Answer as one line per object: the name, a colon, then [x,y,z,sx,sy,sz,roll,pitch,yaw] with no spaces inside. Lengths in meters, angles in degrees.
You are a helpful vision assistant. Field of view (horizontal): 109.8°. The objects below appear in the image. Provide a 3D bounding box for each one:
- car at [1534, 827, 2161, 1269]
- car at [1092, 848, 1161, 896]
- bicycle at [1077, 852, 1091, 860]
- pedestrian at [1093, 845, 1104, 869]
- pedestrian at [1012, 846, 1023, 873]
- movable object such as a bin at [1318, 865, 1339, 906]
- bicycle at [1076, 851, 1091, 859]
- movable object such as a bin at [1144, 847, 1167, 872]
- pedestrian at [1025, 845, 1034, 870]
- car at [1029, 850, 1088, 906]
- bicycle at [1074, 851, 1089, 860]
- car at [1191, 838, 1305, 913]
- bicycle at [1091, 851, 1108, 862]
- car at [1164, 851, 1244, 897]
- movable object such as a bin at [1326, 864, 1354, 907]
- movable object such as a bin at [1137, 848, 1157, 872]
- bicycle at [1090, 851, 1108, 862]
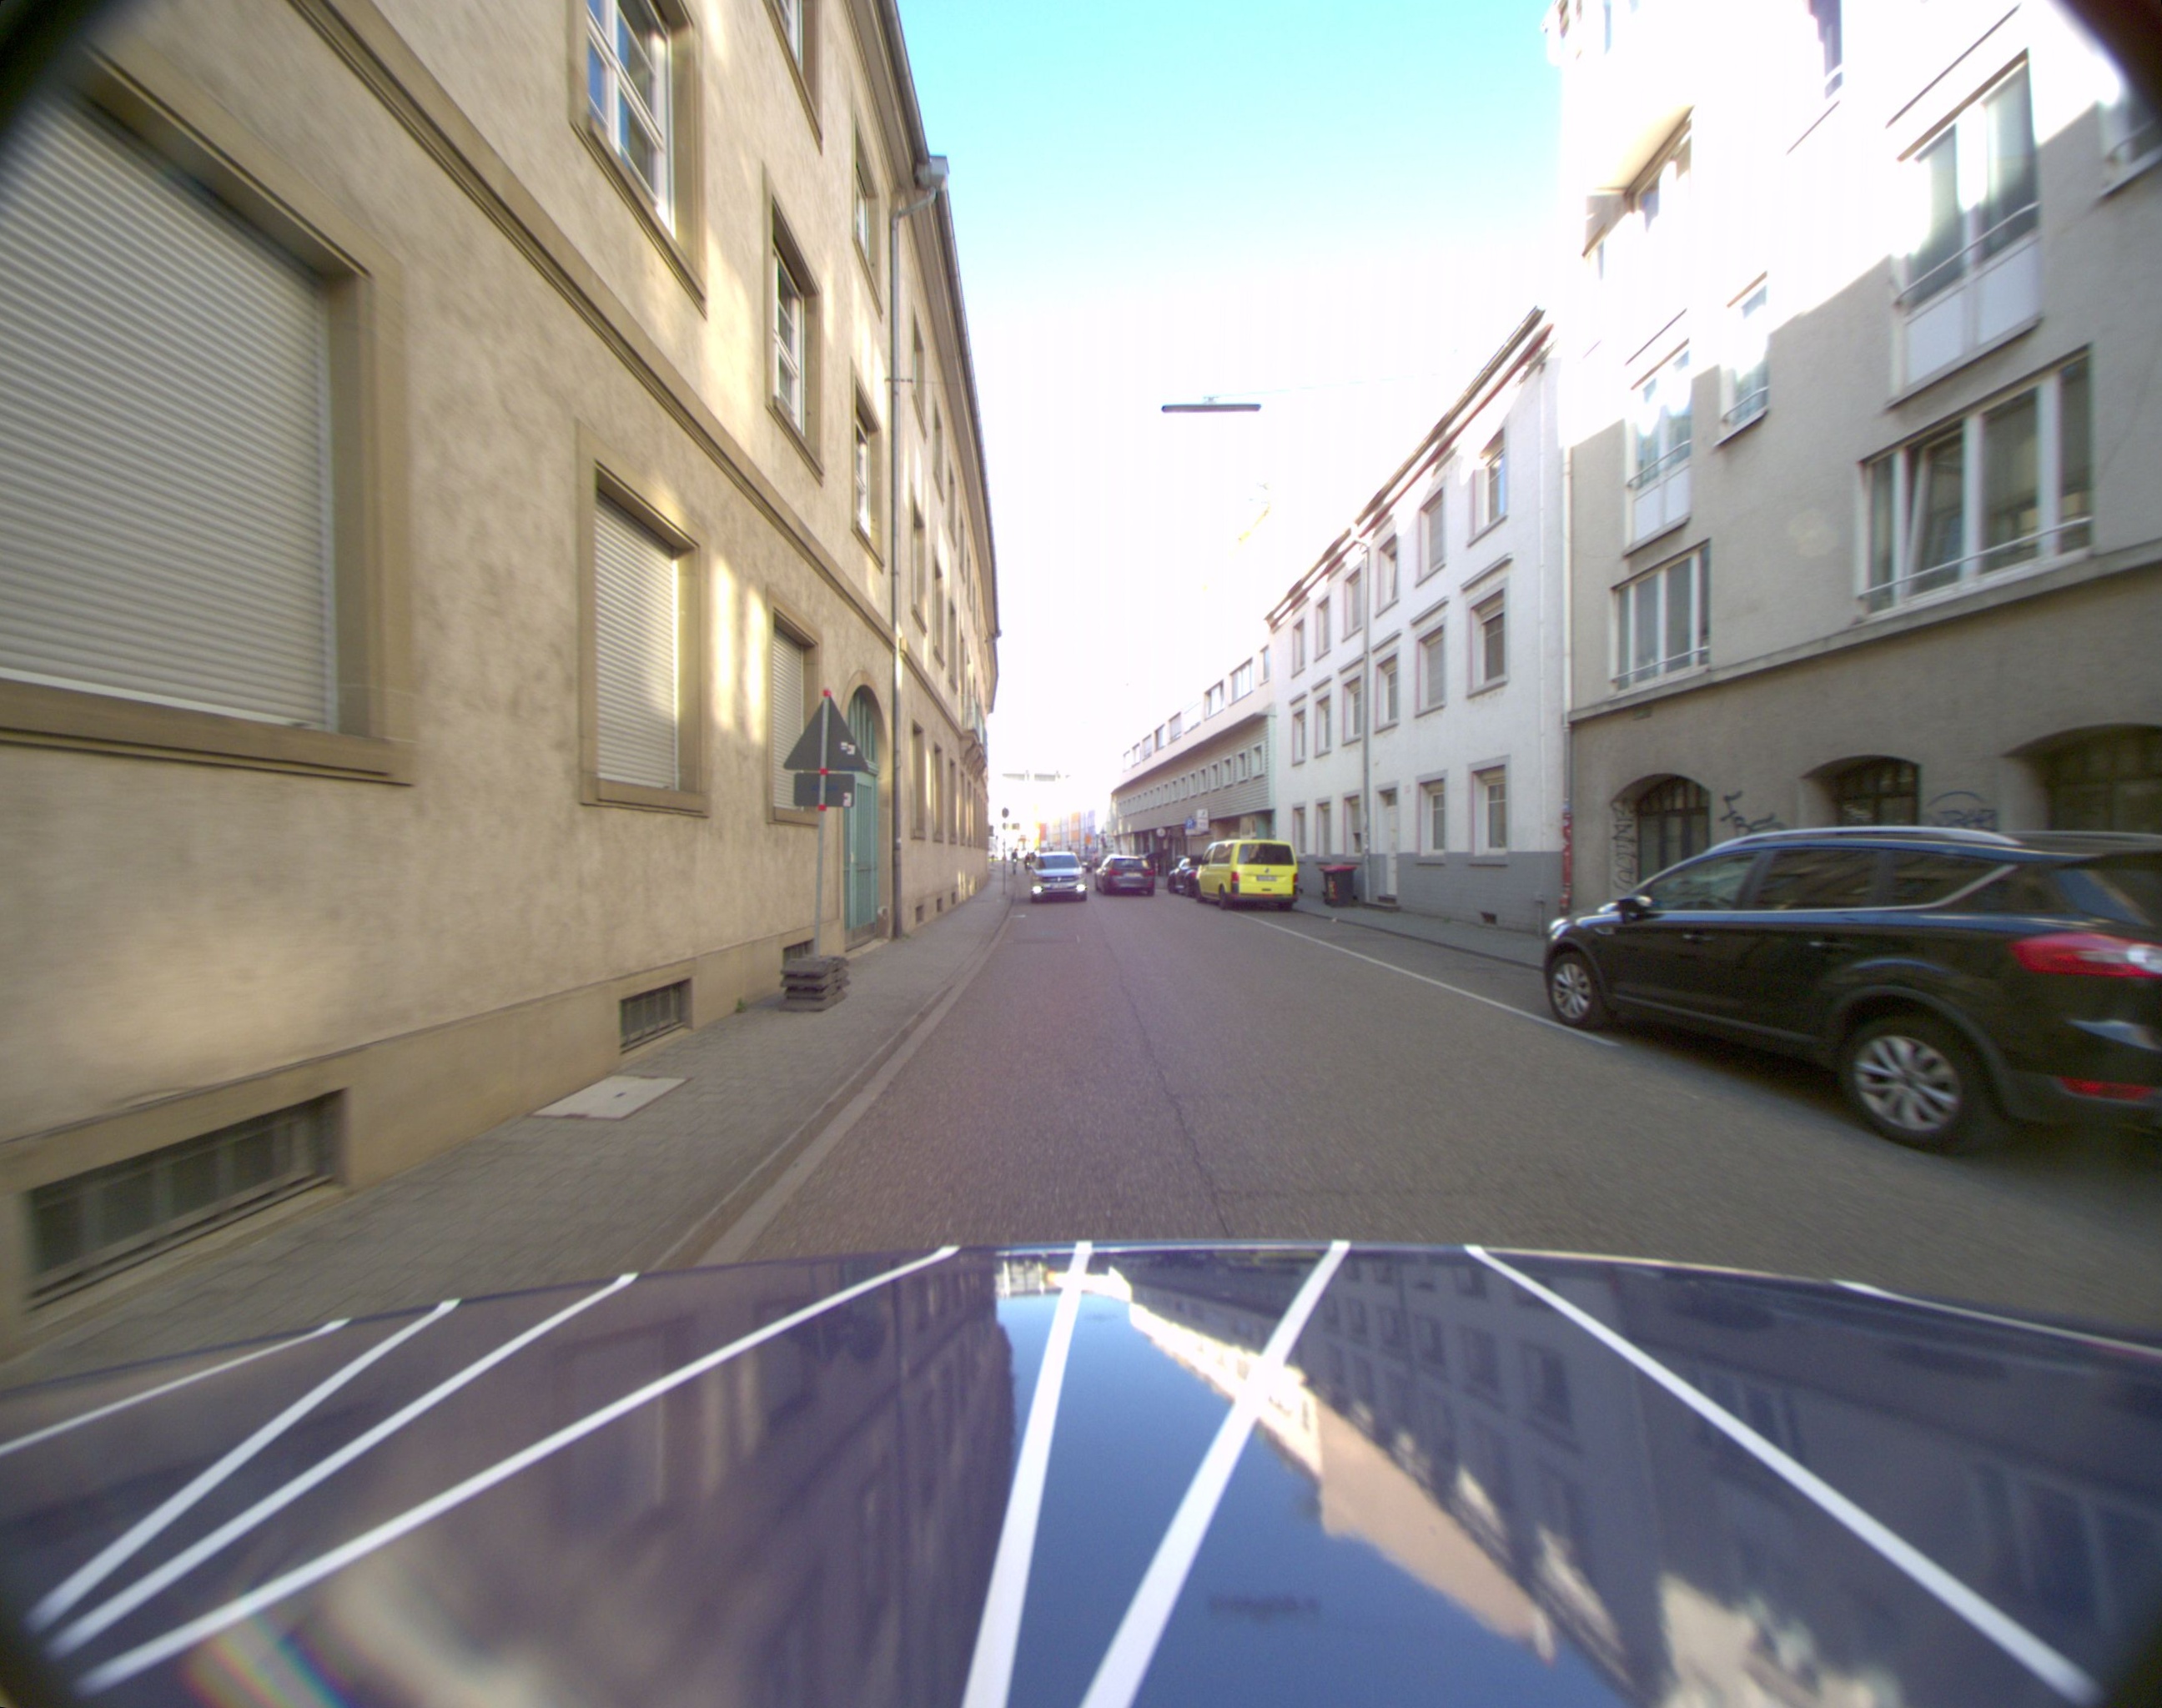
car: [5.077,0.761,4.927,1.744,1.701,4.190,2,0,1]
car: [1.570,0.584,27.754,1.720,1.569,4.187,-1,1,-8]
bicycle: [0.344,0.285,97.435,1.658,0.941,0.388,-4,1,-7]
pedestrian: [1.216,0.240,54.062,0.494,1.660,0.627,-3,1,-20]
pedestrian: [-4.553,0.373,54.456,0.678,1.928,0.857,-1,1,-8]
movable object such as a bin: [6.604,0.835,20.293,0.411,1.098,0.433,0,1,-1]
bicycle: [0.300,0.125,96.162,1.804,0.941,0.388,-4,1,-7]
movable object such as a bin: [4.481,0.324,45.792,1.126,1.511,1.341,-1,0,-7]
pedestrian: [-3.773,0.246,55.560,0.603,1.770,0.651,-1,1,-8]
car: [-0.790,0.708,25.267,1.683,1.568,4.241,-4,1,-3]
bicycle: [0.027,0.193,95.429,1.804,0.941,0.388,-4,1,-7]
car: [4.622,0.529,21.800,1.885,1.856,4.862,2,0,-3]
bicycle: [2.016,0.235,83.117,1.739,1.094,0.388,-5,2,-14]
car: [4.317,0.656,27.357,1.824,1.477,4.074,2,0,-5]
movable object such as a bin: [6.697,0.812,19.654,0.542,1.098,0.433,0,1,-1]
movable object such as a bin: [4.127,0.373,47.599,0.971,1.463,1.474,-1,-1,-7]
bicycle: [1.926,0.242,81.717,1.821,1.094,0.749,-4,1,-8]
